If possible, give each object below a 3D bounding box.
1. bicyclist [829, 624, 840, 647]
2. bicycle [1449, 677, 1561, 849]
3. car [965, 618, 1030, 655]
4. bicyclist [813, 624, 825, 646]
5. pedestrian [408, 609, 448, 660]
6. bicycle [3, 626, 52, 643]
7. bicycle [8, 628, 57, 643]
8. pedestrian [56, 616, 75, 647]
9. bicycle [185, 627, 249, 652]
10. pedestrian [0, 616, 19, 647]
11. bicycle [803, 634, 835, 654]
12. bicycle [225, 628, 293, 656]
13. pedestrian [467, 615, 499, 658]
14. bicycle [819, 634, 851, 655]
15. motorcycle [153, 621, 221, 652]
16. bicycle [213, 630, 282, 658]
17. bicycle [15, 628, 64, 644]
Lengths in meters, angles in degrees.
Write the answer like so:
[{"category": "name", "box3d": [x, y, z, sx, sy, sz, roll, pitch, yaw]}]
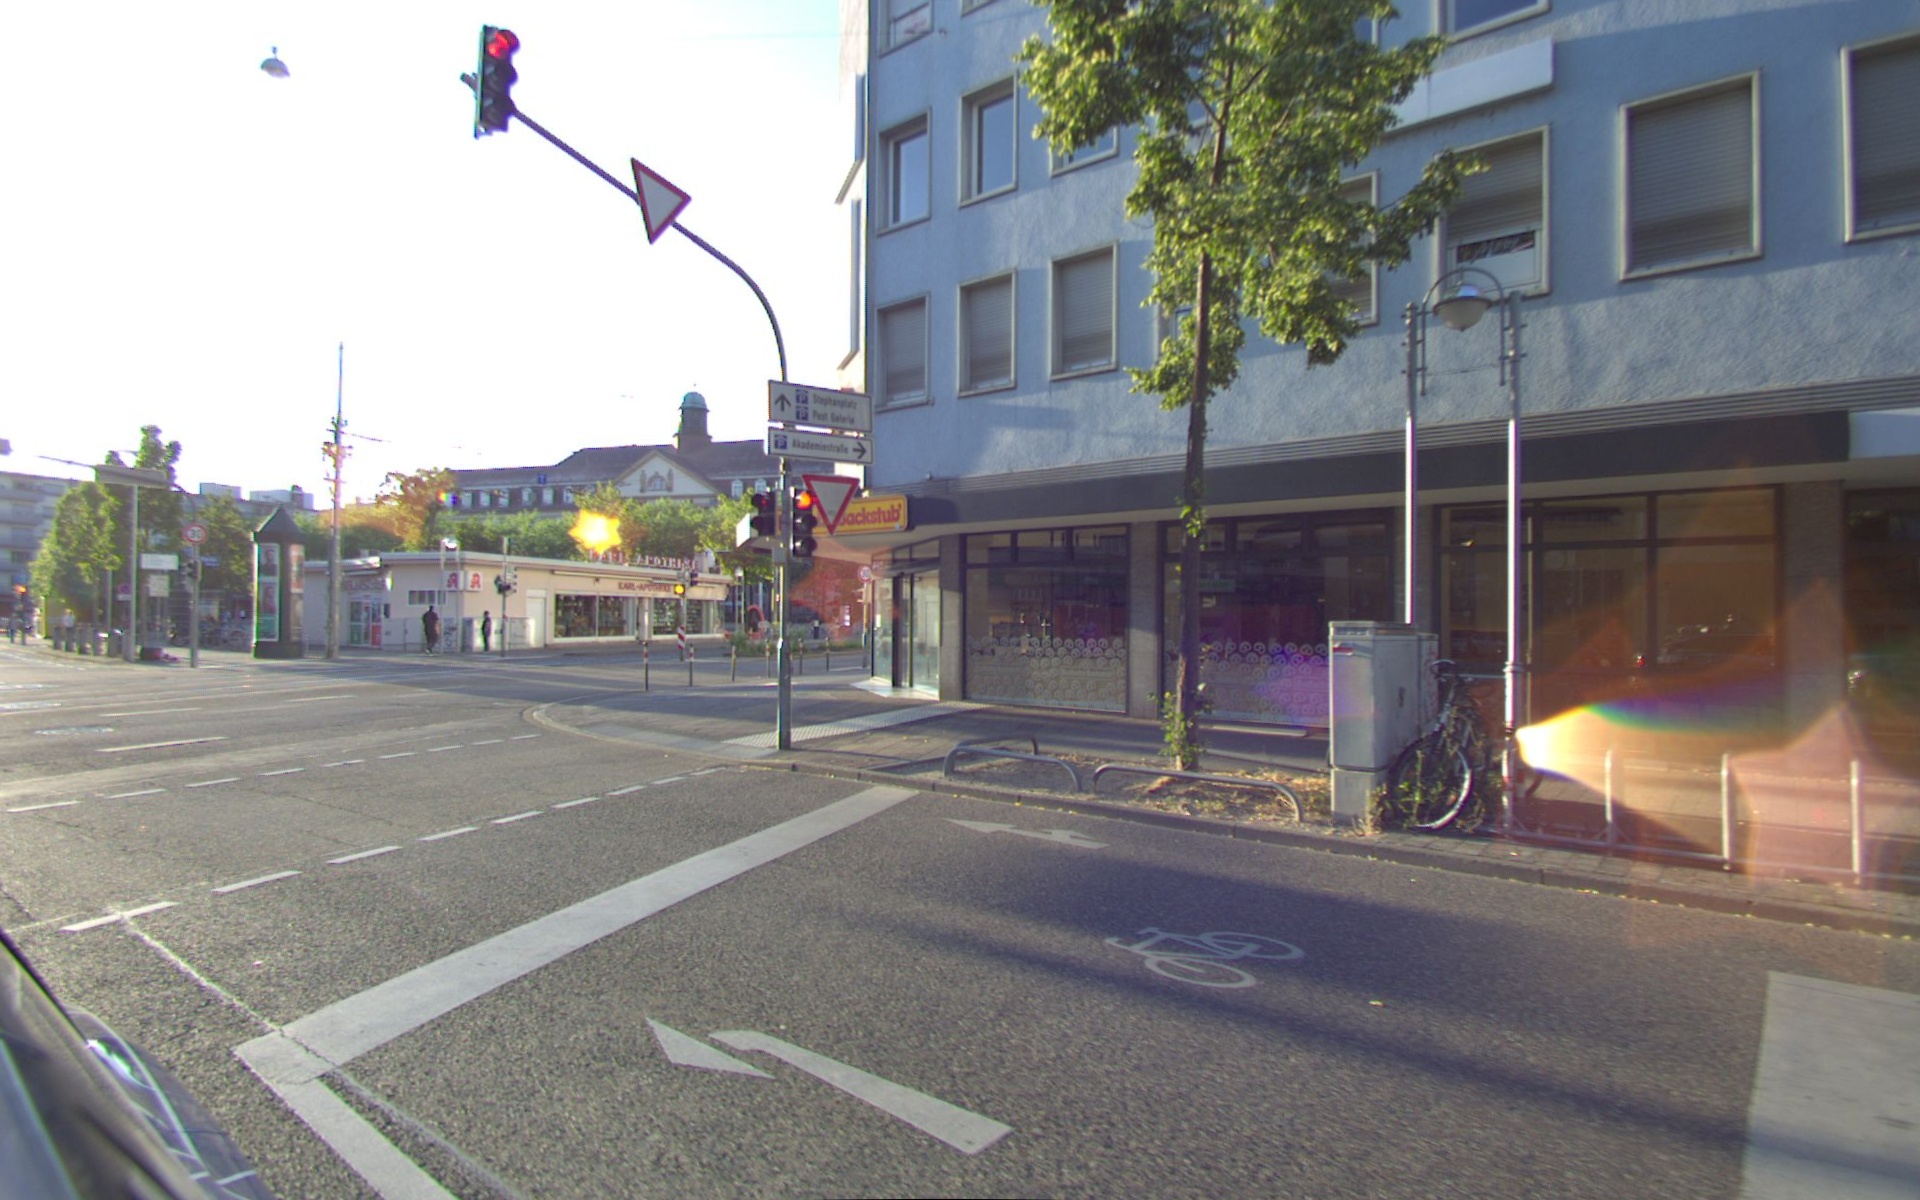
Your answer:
[{"category": "bicyclist", "box3d": [-9.603, 2.717, 77.597, 0.644, 1.724, 0.623, 0, 0, -31]}, {"category": "bicycle", "box3d": [4.157, 1.151, 7.654, 0.490, 0.999, 1.991, 0, 0, 36]}, {"category": "car", "box3d": [1.951, 1.799, 50.531, 2.033, 1.750, 4.581, -1, -2, 19]}, {"category": "bicyclist", "box3d": [-10.990, 2.732, 79.014, 0.776, 1.733, 0.595, 0, 0, -31]}, {"category": "pedestrian", "box3d": [-18.866, 1.211, 35.908, 0.874, 1.798, 0.901, 0, 0, 18]}, {"category": "bicycle", "box3d": [-62.154, 2.274, 67.482, 2.365, 1.079, 0.673, 0, 0, -43]}, {"category": "bicycle", "box3d": [-60.869, 2.321, 66.440, 2.365, 0.966, 0.673, 0, 0, -43]}, {"category": "pedestrian", "box3d": [-49.056, 1.726, 55.471, 0.767, 1.689, 0.908, 0, 0, -42]}, {"category": "bicycle", "box3d": [-33.194, 1.768, 45.243, 0.779, 1.096, 2.153, 0, -2, 40]}, {"category": "pedestrian", "box3d": [-52.383, 1.724, 55.601, 0.892, 1.689, 0.781, 0, 0, -38]}, {"category": "bicycle", "box3d": [-11.009, 3.404, 79.016, 2.457, 1.497, 0.595, 0, 0, -31]}, {"category": "bicycle", "box3d": [-28.673, 1.695, 41.432, 0.777, 1.096, 2.172, 0, -1, 33]}, {"category": "pedestrian", "box3d": [-18.840, 1.432, 39.988, 0.895, 1.689, 0.778, 0, 0, 5]}, {"category": "bicycle", "box3d": [-9.559, 3.402, 77.629, 2.378, 1.497, 0.618, 0, 0, -31]}, {"category": "motorcycle", "box3d": [-35.916, 1.688, 47.039, 2.417, 1.376, 0.780, 0, -1, -45]}, {"category": "bicycle", "box3d": [-29.601, 1.833, 42.067, 0.777, 1.096, 2.196, 0, -1, 33]}, {"category": "bicycle", "box3d": [-59.932, 2.310, 65.918, 2.365, 0.966, 0.673, 0, 0, -43]}]
